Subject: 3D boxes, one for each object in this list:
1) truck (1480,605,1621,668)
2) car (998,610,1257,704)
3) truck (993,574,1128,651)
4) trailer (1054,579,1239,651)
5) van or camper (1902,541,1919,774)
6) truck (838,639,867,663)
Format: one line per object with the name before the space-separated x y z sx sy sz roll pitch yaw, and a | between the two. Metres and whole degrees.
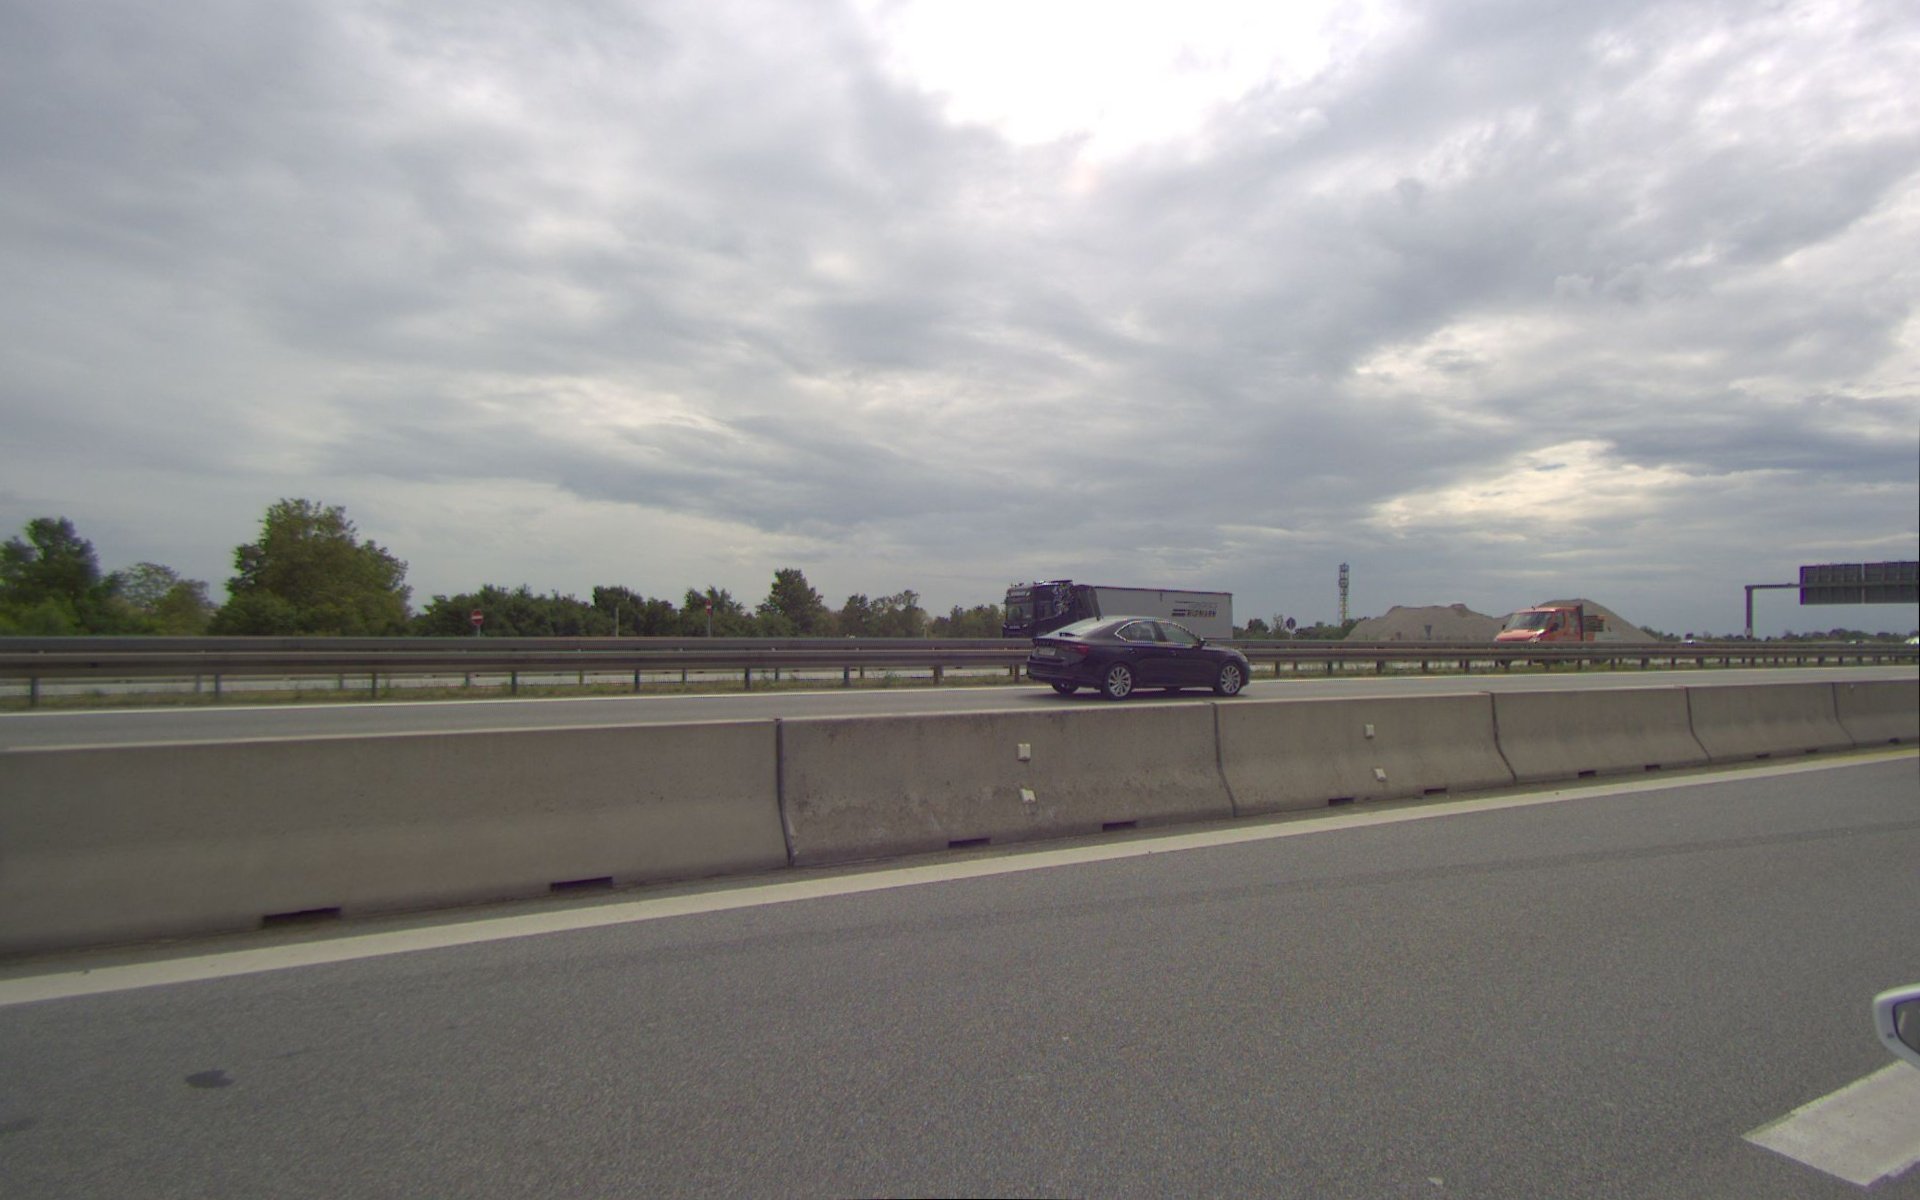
truck | 24.200 1.479 41.097 6.127 2.401 2.266 1 -1 -30
car | 3.165 1.007 18.758 4.514 1.547 2.049 1 -1 -30
truck | 4.731 0.628 46.961 5.564 3.374 3.131 1 -1 -34
trailer | 9.464 0.781 50.219 9.724 3.313 3.177 2 -1 -34
van or camper | 12.924 0.649 11.051 6.051 2.402 1.991 1 -1 -29
truck | -14.502 6.814 134.833 2.865 2.810 8.761 1 -1 -12
